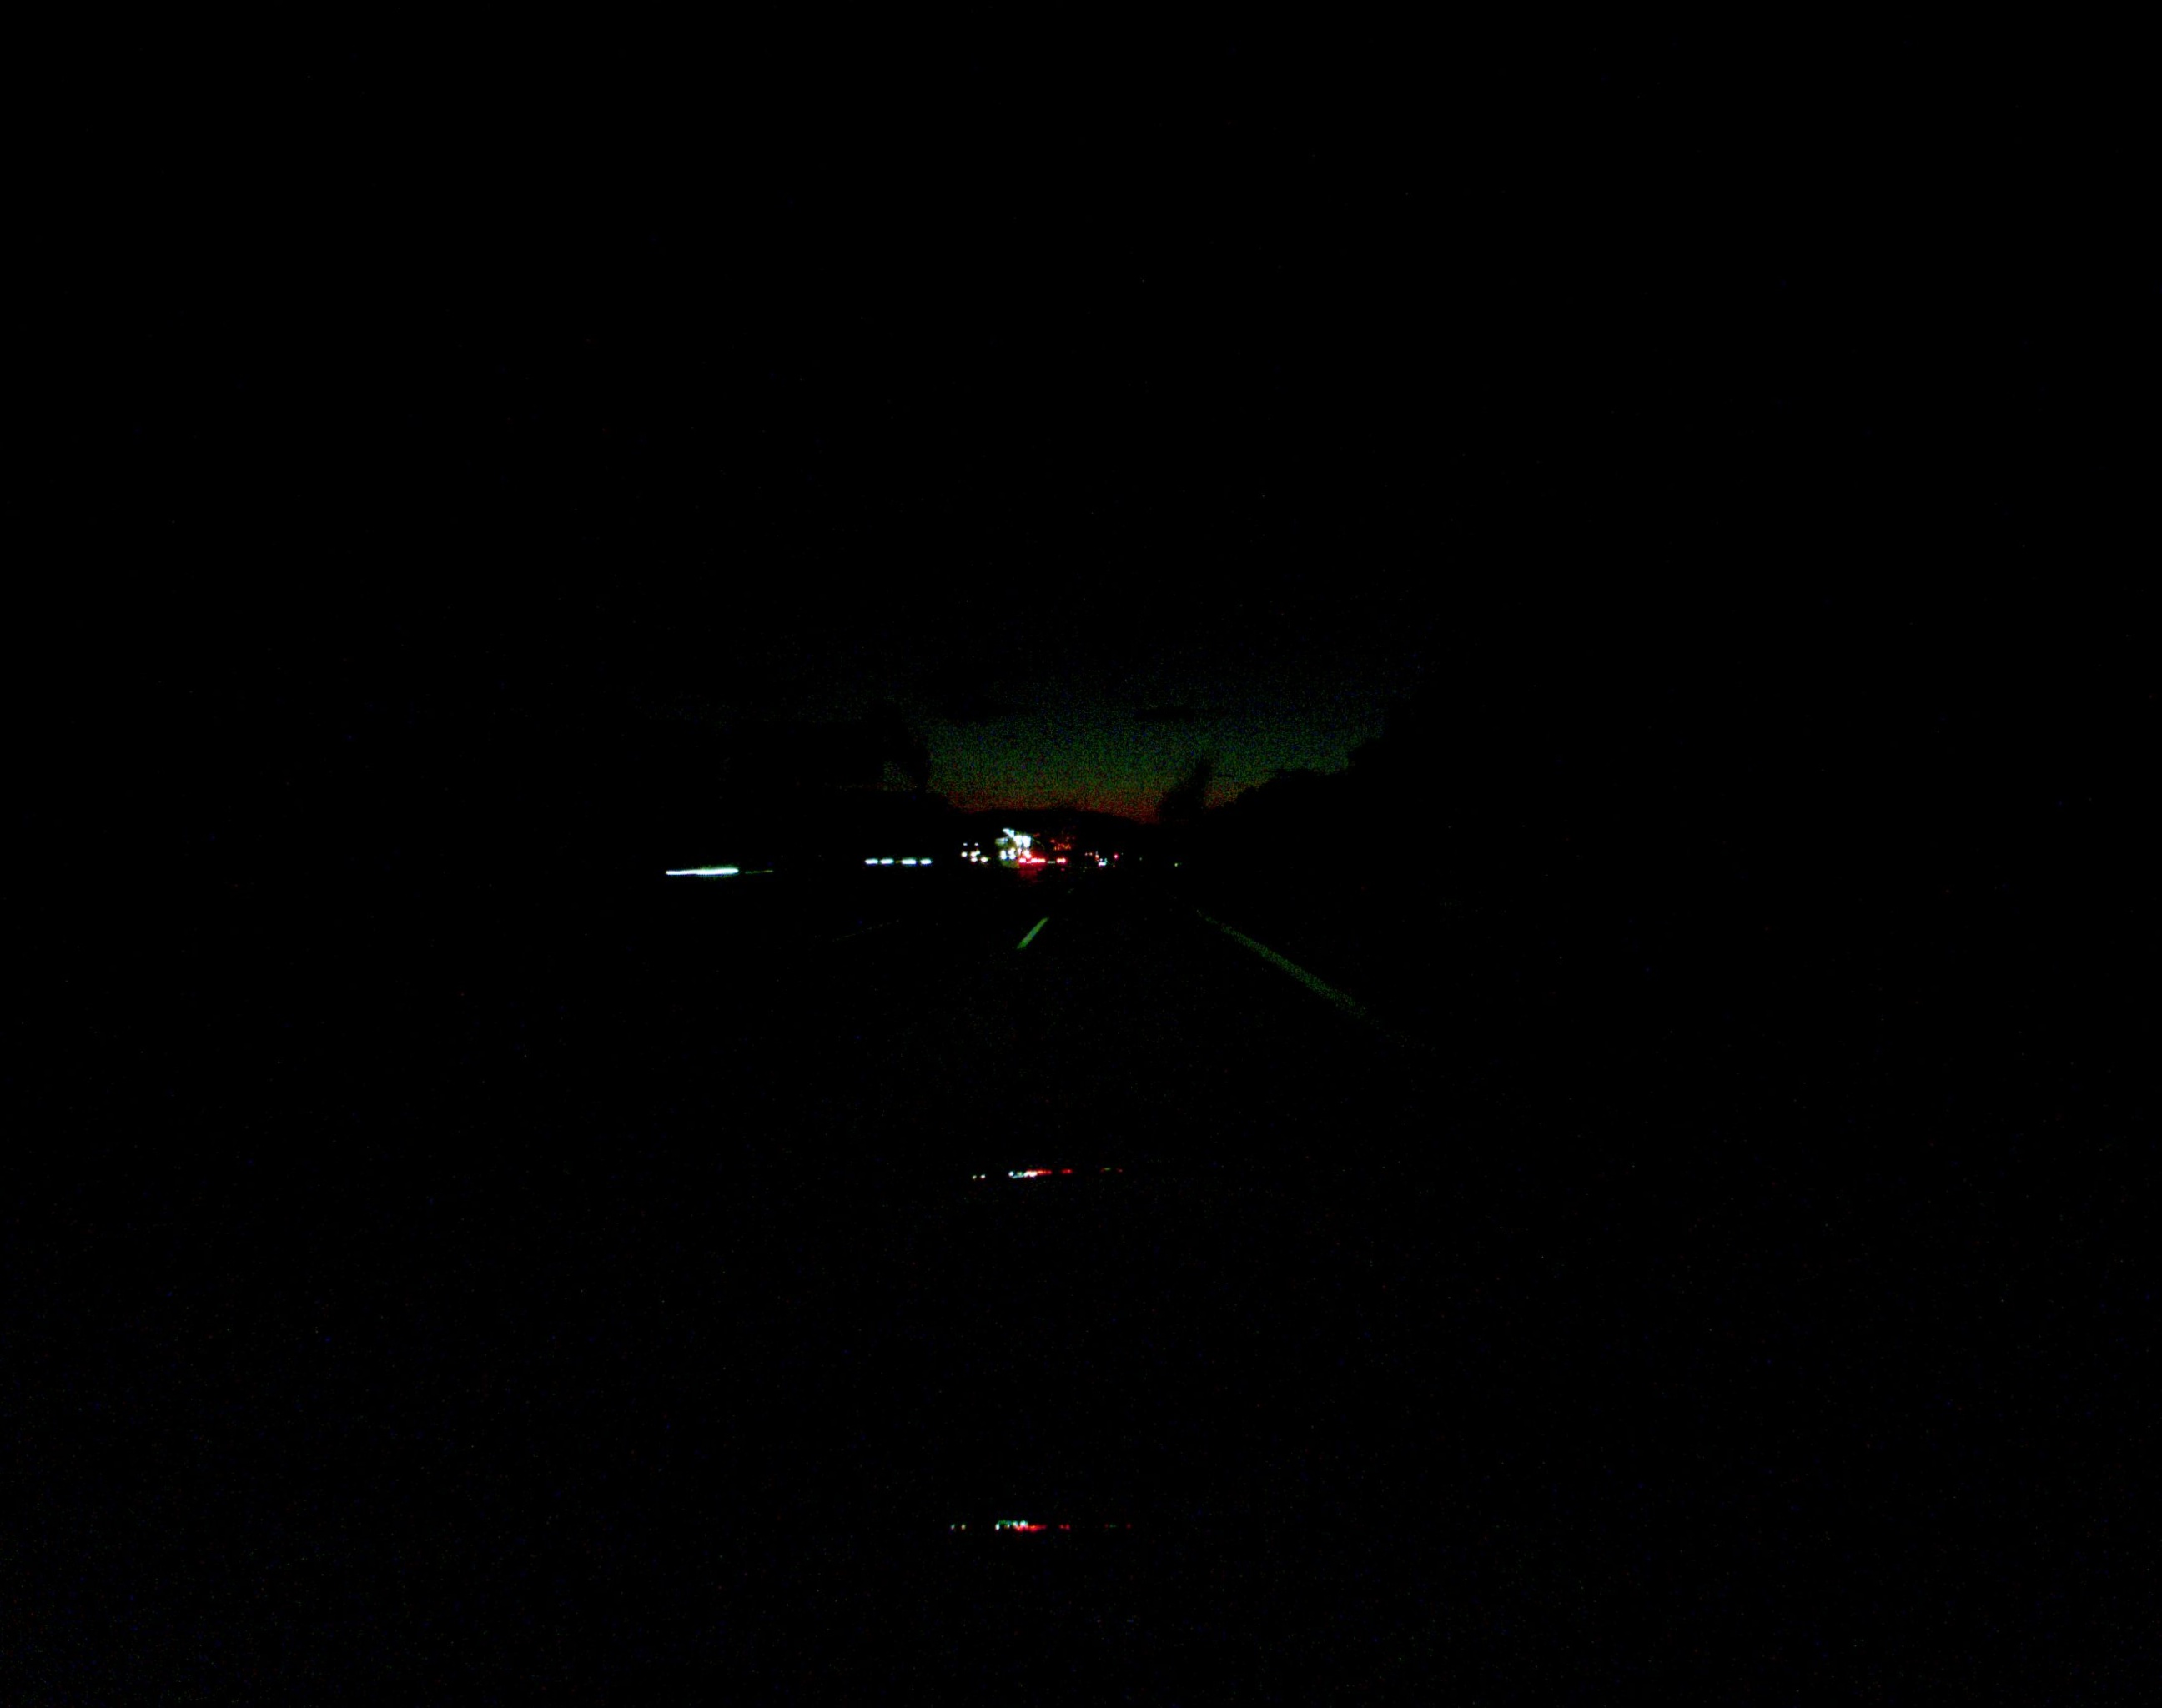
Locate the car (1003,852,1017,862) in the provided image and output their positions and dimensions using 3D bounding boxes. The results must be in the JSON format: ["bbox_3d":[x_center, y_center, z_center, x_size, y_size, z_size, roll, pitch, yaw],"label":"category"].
[{"bbox_3d":[-12.295,0.560,141.574,1.986,1.734,4.661,0,0,1],"label":"car"}]

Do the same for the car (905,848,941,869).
[{"bbox_3d":[-13.259,0.351,68.665,1.986,1.734,4.661,0,0,1],"label":"car"}]

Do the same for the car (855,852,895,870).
[{"bbox_3d":[-17.556,0.588,69.564,1.986,1.509,5.187,0,0,1],"label":"car"}]

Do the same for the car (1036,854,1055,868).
[{"bbox_3d":[-4.401,0.860,102.874,1.772,1.486,5.259,2,1,4],"label":"car"}]

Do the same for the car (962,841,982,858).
[{"bbox_3d":[-19.972,-0.786,149.877,2.449,2.936,8.334,0,0,1],"label":"car"}]

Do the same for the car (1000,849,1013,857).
[{"bbox_3d":[-16.460,-0.248,180.421,2.138,1.885,5.425,0,0,1],"label":"car"}]

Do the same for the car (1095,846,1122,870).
[{"bbox_3d":[2.371,0.320,71.772,2.190,1.955,4.762,-1,1,0],"label":"car"}]

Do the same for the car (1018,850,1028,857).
[{"bbox_3d":[-14.799,-0.195,208.186,1.987,1.734,4.659,0,0,1],"label":"car"}]

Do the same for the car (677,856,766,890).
[{"bbox_3d":[-17.398,0.852,39.706,1.987,1.509,5.203,0,0,1],"label":"car"}]

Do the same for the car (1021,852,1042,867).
[{"bbox_3d":[-4.868,0.560,80.535,1.544,1.431,5.517,-1,0,2],"label":"car"}]

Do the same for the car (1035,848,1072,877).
[{"bbox_3d":[-1.720,0.541,53.101,1.986,1.721,5.945,-1,0,2],"label":"car"}]
